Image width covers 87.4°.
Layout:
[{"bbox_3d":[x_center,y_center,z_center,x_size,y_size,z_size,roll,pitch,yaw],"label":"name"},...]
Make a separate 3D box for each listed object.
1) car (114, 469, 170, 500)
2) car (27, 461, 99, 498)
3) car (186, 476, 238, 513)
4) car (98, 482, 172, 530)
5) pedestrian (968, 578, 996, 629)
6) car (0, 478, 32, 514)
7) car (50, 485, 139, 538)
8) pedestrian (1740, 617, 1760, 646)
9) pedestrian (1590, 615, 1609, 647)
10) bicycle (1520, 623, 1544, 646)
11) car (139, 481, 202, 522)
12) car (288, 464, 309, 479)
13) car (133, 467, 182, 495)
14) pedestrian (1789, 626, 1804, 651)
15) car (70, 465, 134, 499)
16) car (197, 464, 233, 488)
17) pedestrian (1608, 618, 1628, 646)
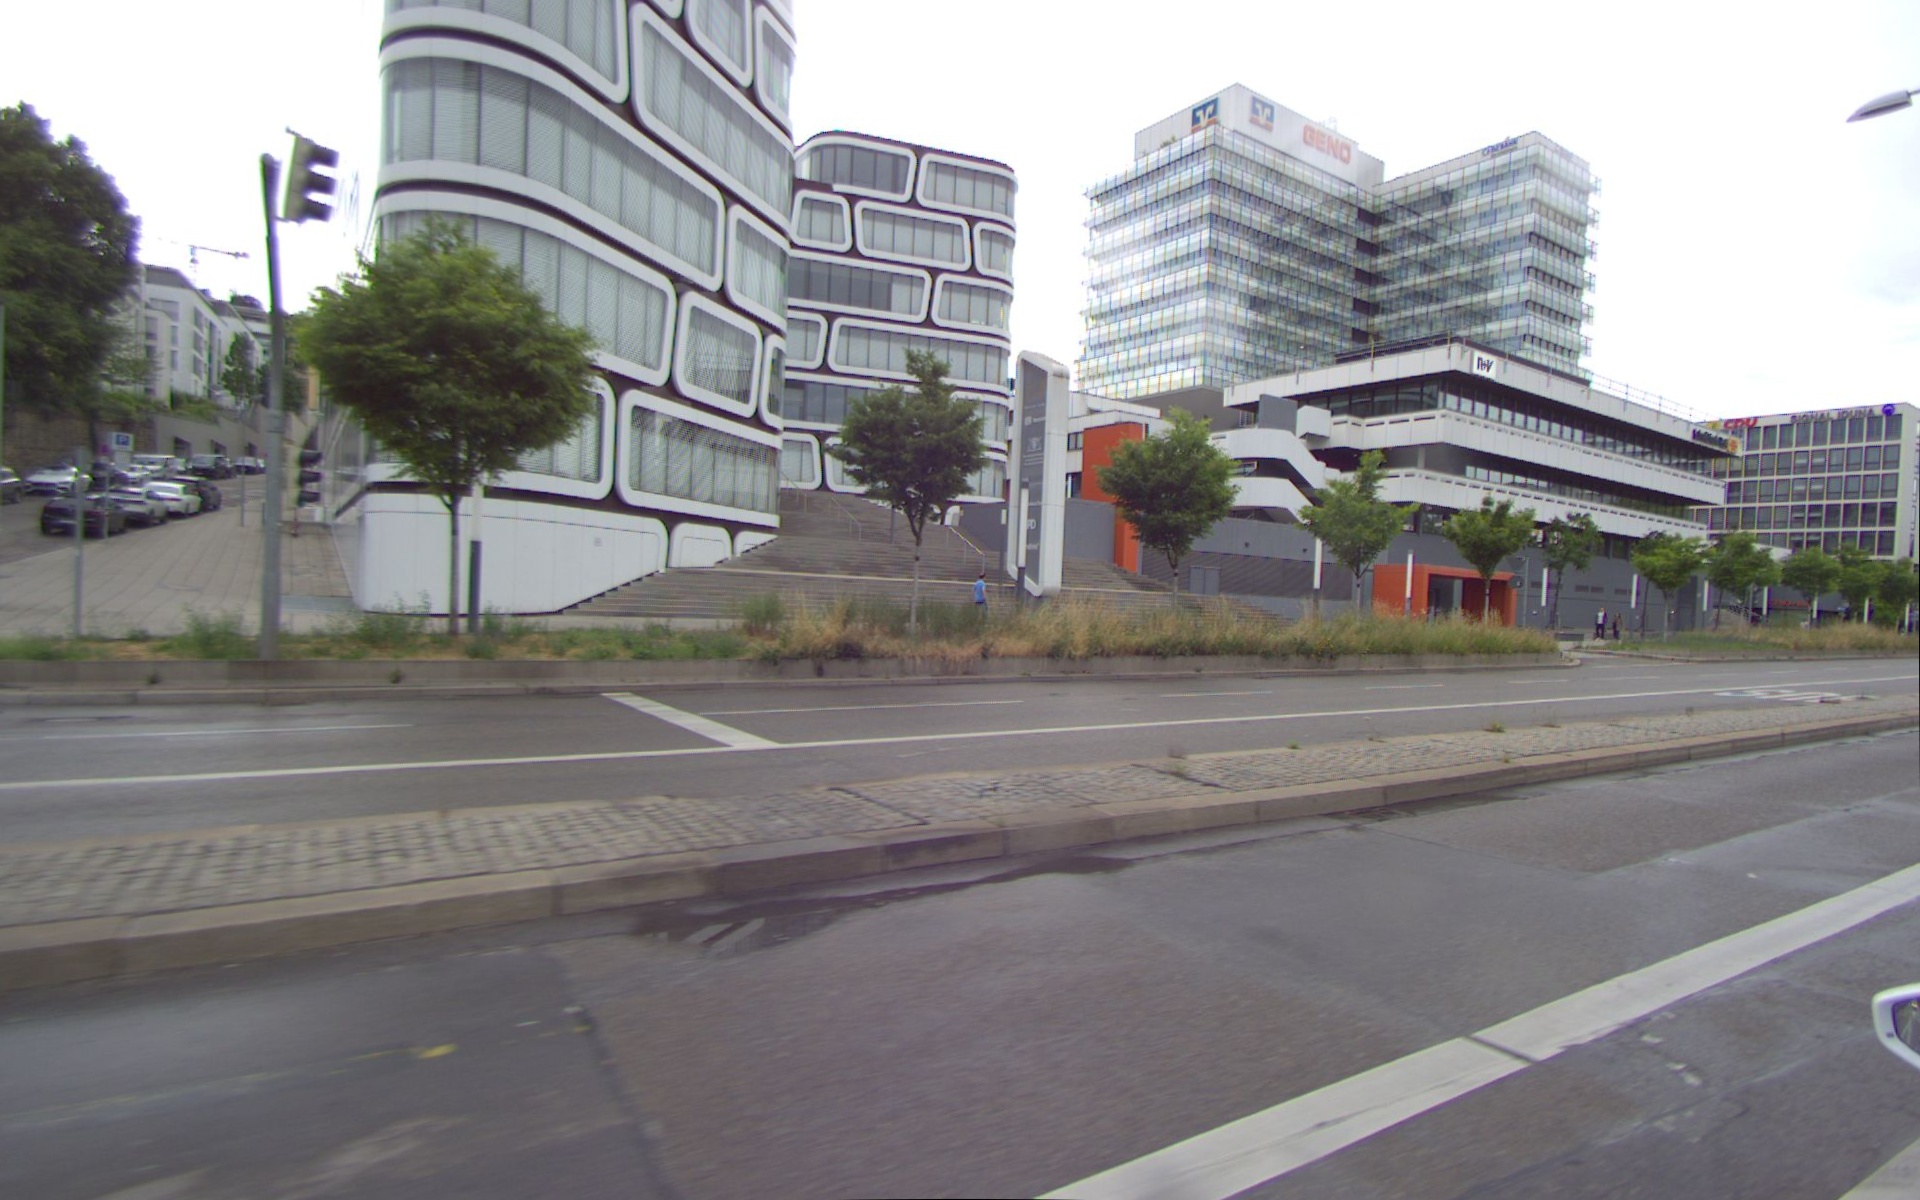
[{"bbox_3d":[-51.945,-7.309,63.879,1.892,1.706,3.971,3,4,-27],"label":"car"},{"bbox_3d":[-46.770,-6.261,52.476,1.791,1.706,3.971,3,4,-27],"label":"car"},{"bbox_3d":[-38.604,-5.464,51.915,1.859,1.598,3.963,3,6,-33],"label":"car"},{"bbox_3d":[-33.650,-3.870,41.060,1.859,1.598,3.963,3,6,-33],"label":"car"},{"bbox_3d":[0.728,0.121,33.202,0.632,1.632,0.607,3,-1,-31],"label":"pedestrian"},{"bbox_3d":[-41.842,-4.537,43.181,1.840,1.474,3.877,3,4,-27],"label":"car"},{"bbox_3d":[-31.228,-3.228,36.340,1.859,1.598,3.963,3,6,-33],"label":"car"},{"bbox_3d":[50.796,2.033,64.587,0.622,1.831,0.779,3,-1,-34],"label":"pedestrian"},{"bbox_3d":[35.173,1.708,55.220,0.790,1.679,0.614,3,-2,-33],"label":"pedestrian"},{"bbox_3d":[23.122,1.384,40.611,0.598,0.869,1.657,2,-1,22],"label":"bicycle"},{"bbox_3d":[-36.374,-4.580,46.383,1.859,1.598,3.963,3,6,-33],"label":"car"},{"bbox_3d":[-86.314,-16.729,131.099,1.858,1.706,3.971,3,4,-27],"label":"car"},{"bbox_3d":[-55.147,-8.150,69.062,1.791,1.706,3.971,3,4,-27],"label":"car"},{"bbox_3d":[61.147,2.807,73.432,0.622,1.831,0.626,3,-1,-34],"label":"pedestrian"},{"bbox_3d":[-49.757,-6.838,58.331,1.824,1.706,3.972,3,4,-26],"label":"car"},{"bbox_3d":[-61.397,-10.182,82.832,1.687,1.706,3.971,3,4,-27],"label":"car"},{"bbox_3d":[35.686,1.727,54.465,0.790,1.465,0.614,3,-1,-33],"label":"pedestrian"}]
